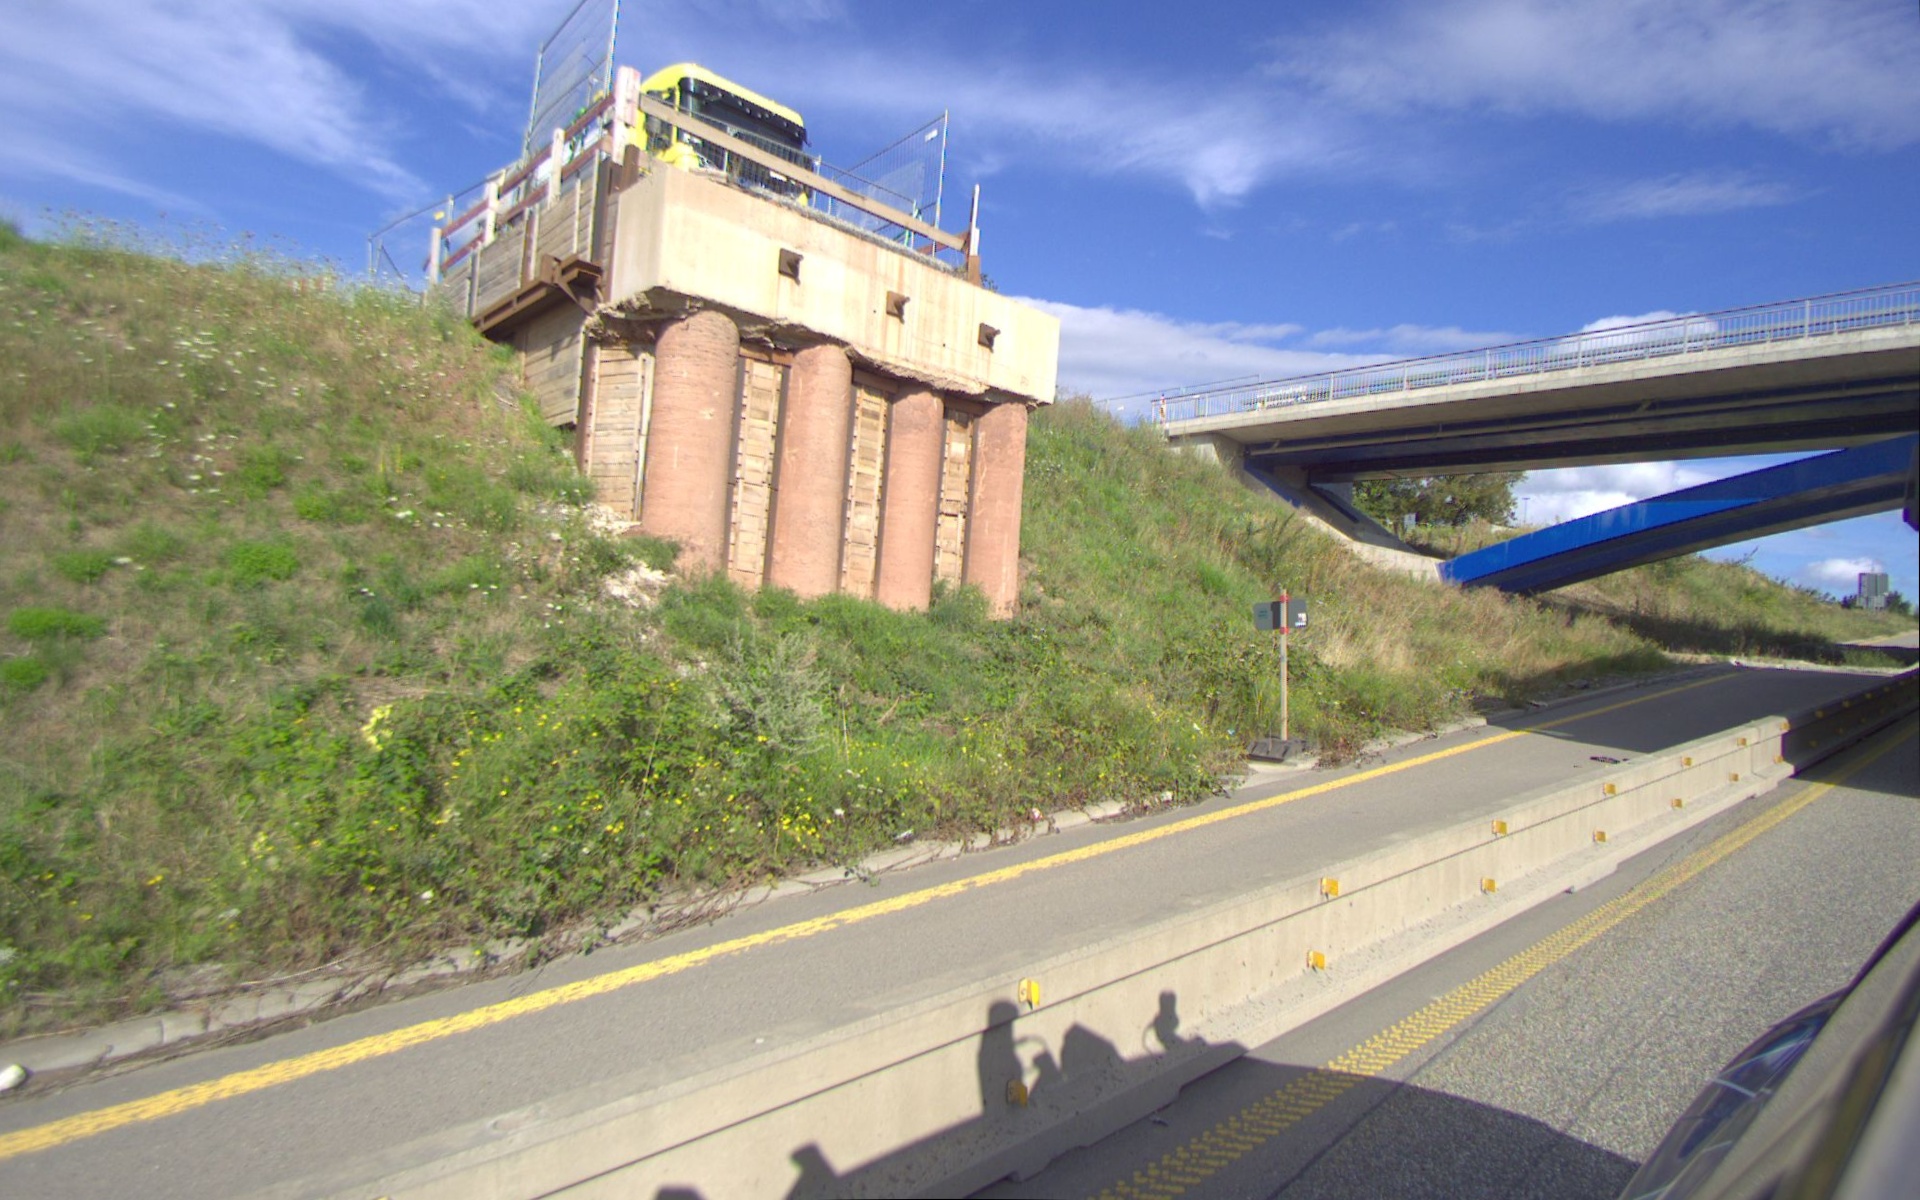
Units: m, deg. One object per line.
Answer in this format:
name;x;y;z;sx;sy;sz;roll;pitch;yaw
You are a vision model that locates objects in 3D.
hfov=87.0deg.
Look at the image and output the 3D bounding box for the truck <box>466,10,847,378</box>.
truck;-5.954;-6.540;18.307;2.909;3.268;9.276;1;1;-42
